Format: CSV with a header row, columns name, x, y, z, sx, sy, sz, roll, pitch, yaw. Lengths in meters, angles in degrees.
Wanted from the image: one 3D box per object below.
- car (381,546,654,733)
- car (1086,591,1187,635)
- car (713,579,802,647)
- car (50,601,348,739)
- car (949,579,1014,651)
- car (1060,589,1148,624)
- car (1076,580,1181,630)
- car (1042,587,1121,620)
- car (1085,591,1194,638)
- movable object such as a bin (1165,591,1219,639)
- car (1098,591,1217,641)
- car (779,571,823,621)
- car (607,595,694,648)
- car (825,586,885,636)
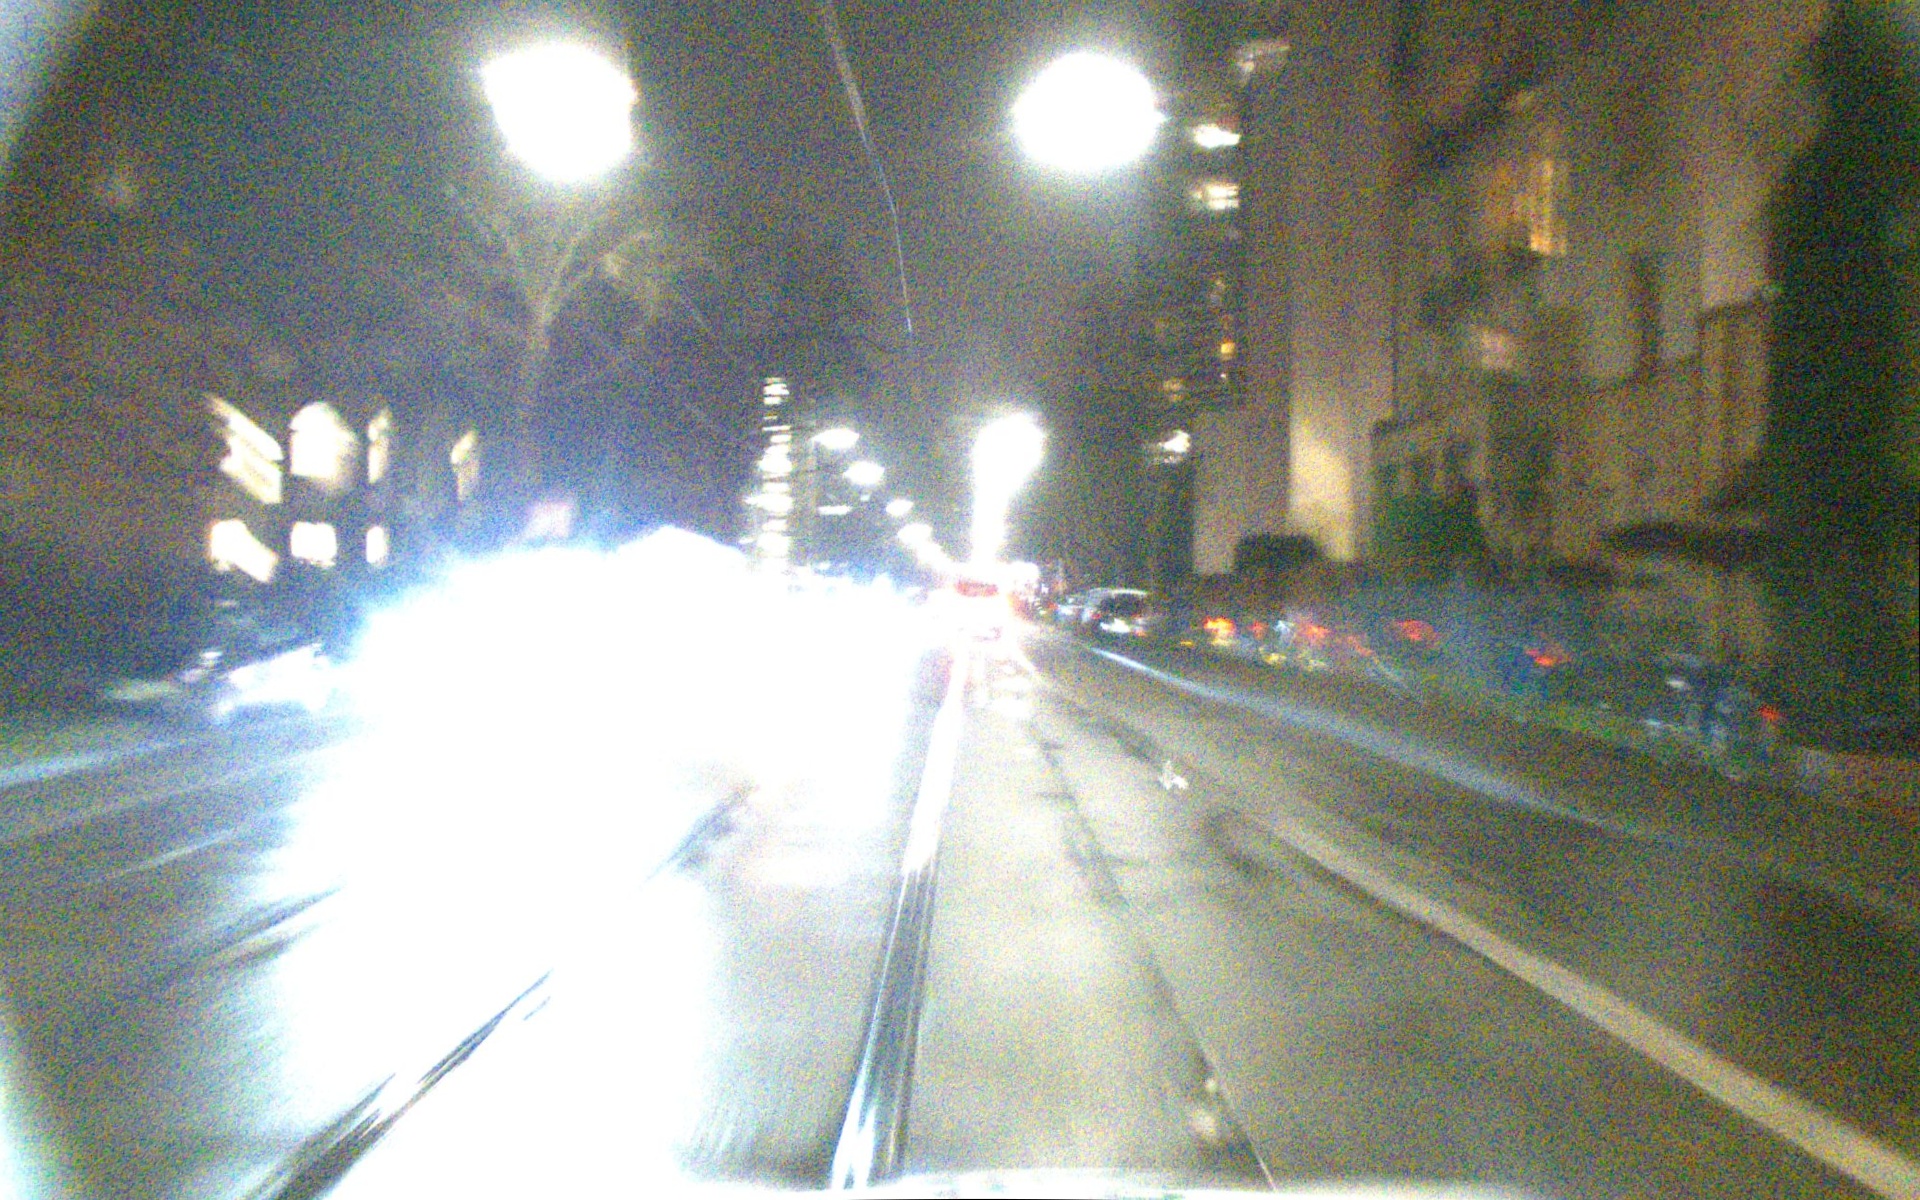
name,x,y,z,sx,sy,sz,roll,pitch,yaw
car,-5.101,0.390,19.765,1.886,1.912,4.638,-2,1,1
car,6.363,0.473,59.443,3.806,1.463,1.574,2,0,-45
car,-4.783,0.282,39.508,1.618,1.505,4.205,-2,0,-1
car,-9.056,0.761,20.093,1.730,1.431,4.140,2,0,-2
car,0.745,0.518,60.737,2.172,2.484,5.382,1,0,-2
car,6.479,0.274,74.083,1.662,1.429,4.432,1,2,41
car,6.870,0.206,67.103,4.137,1.871,1.934,2,0,-42
car,6.147,0.183,83.185,3.854,1.560,1.794,1,0,-42
car,6.101,0.471,56.037,1.775,1.514,3.832,0,0,42
movable object such as a bin,7.002,0.454,49.929,1.328,1.432,1.021,0,0,-20
car,6.347,0.533,53.039,3.758,1.483,1.743,2,0,-42
car,-8.586,-0.217,89.814,1.984,2.542,5.605,2,0,-2
car,-8.954,0.620,48.145,1.634,1.411,4.001,2,-1,1
car,-4.043,0.393,64.427,1.898,1.847,4.386,-2,1,1
